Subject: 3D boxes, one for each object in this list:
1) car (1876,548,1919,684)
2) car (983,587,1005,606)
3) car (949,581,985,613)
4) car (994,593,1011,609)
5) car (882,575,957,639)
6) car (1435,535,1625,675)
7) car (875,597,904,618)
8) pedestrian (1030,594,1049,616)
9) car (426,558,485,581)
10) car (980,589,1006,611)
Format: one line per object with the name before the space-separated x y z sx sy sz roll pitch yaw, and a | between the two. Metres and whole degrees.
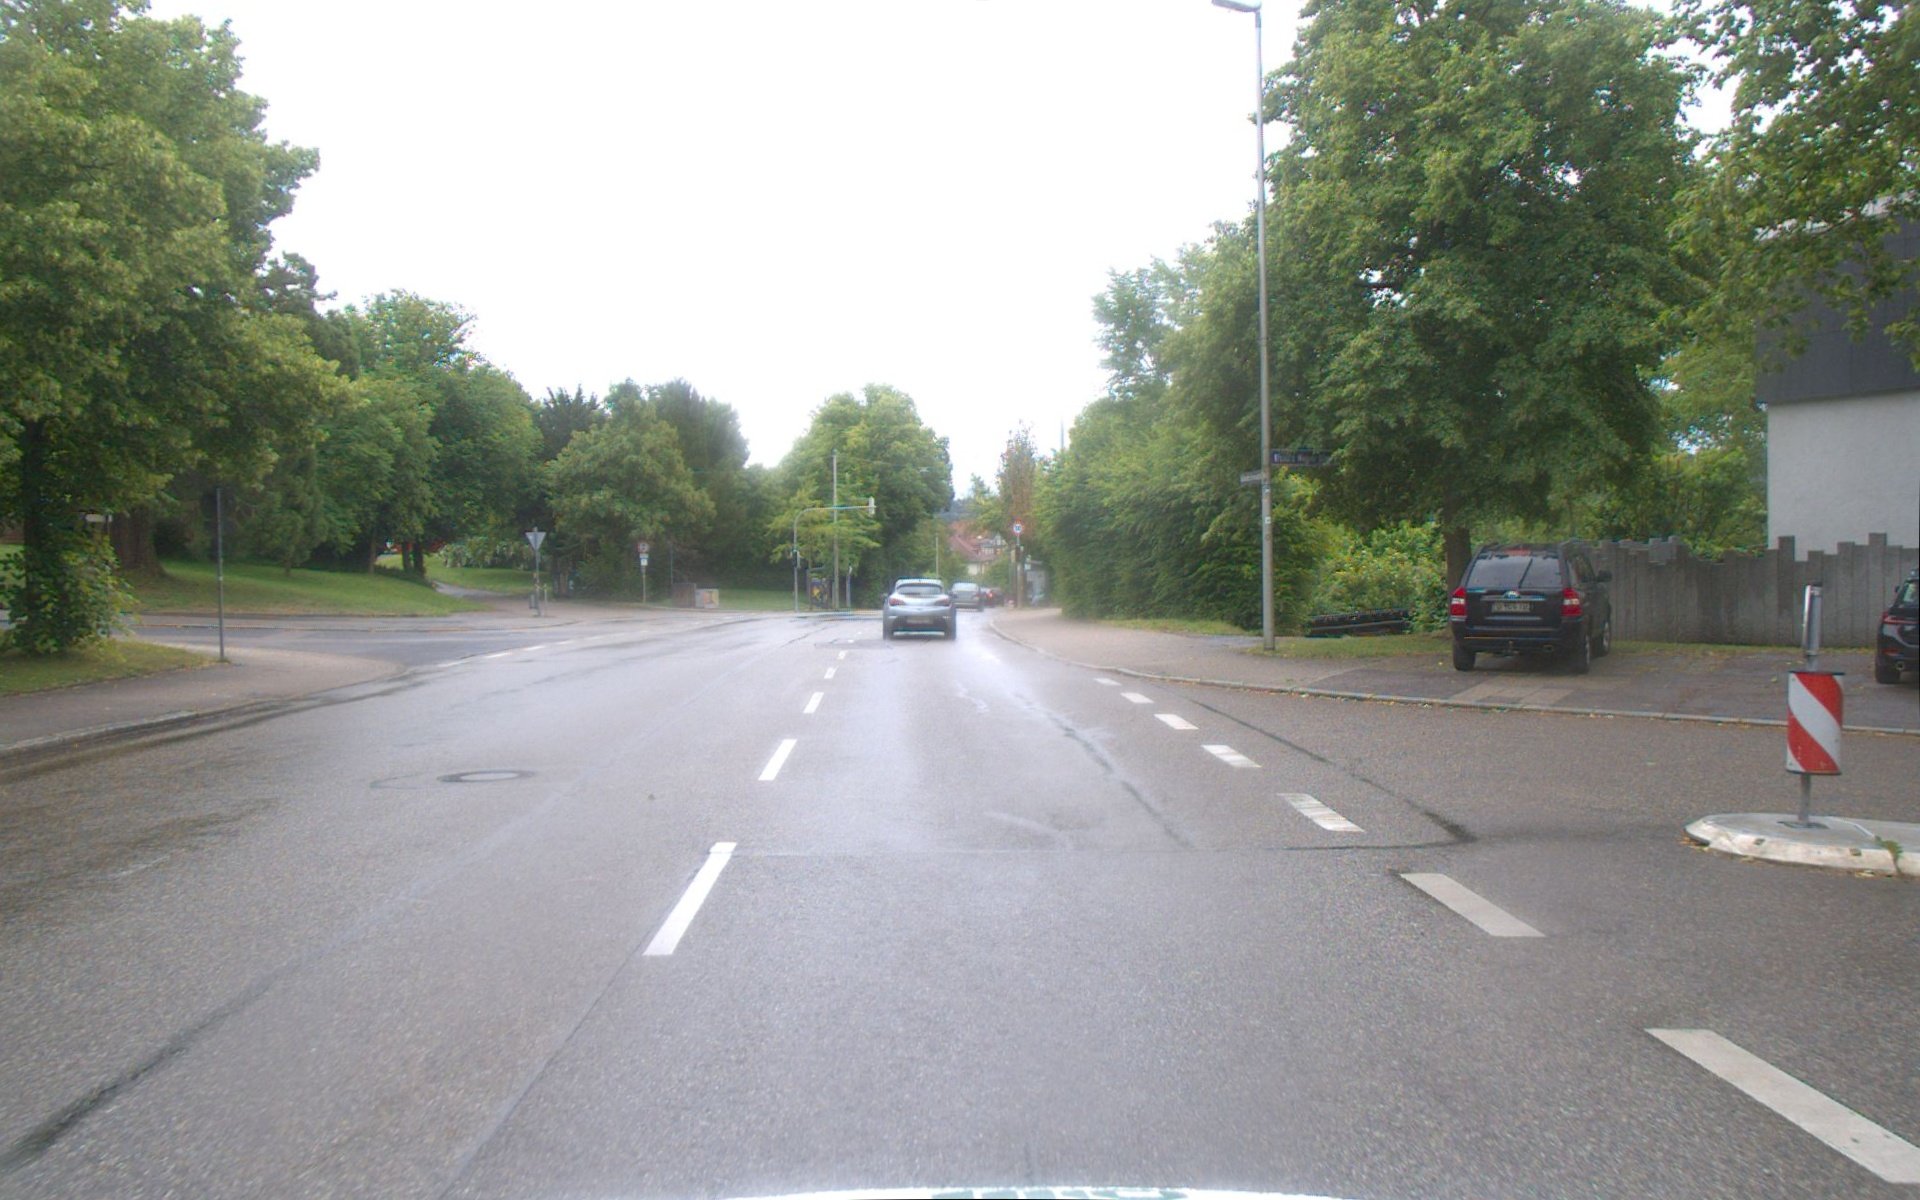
car | 12.963 0.146 21.051 1.722 1.495 4.549 2 4 36
car | 2.726 -0.261 133.342 1.686 1.489 4.001 2 0 1
car | 0.359 -0.134 83.873 1.686 1.489 4.001 2 0 1
car | 4.247 0.139 165.414 1.686 1.489 4.001 2 0 1
car | -0.968 0.143 41.467 1.718 1.489 4.000 1 1 0
car | 8.211 -0.041 23.540 1.910 1.718 4.899 1 3 27
car | -5.016 0.534 118.263 1.626 1.329 4.085 -2 1 3
pedestrian | 5.043 0.302 104.527 1.050 1.379 0.919 -2 -1 10
car | -34.752 -2.120 113.914 3.839 1.512 1.924 0 -1 -20
car | 2.332 -0.006 116.302 1.686 1.489 4.001 2 0 1
